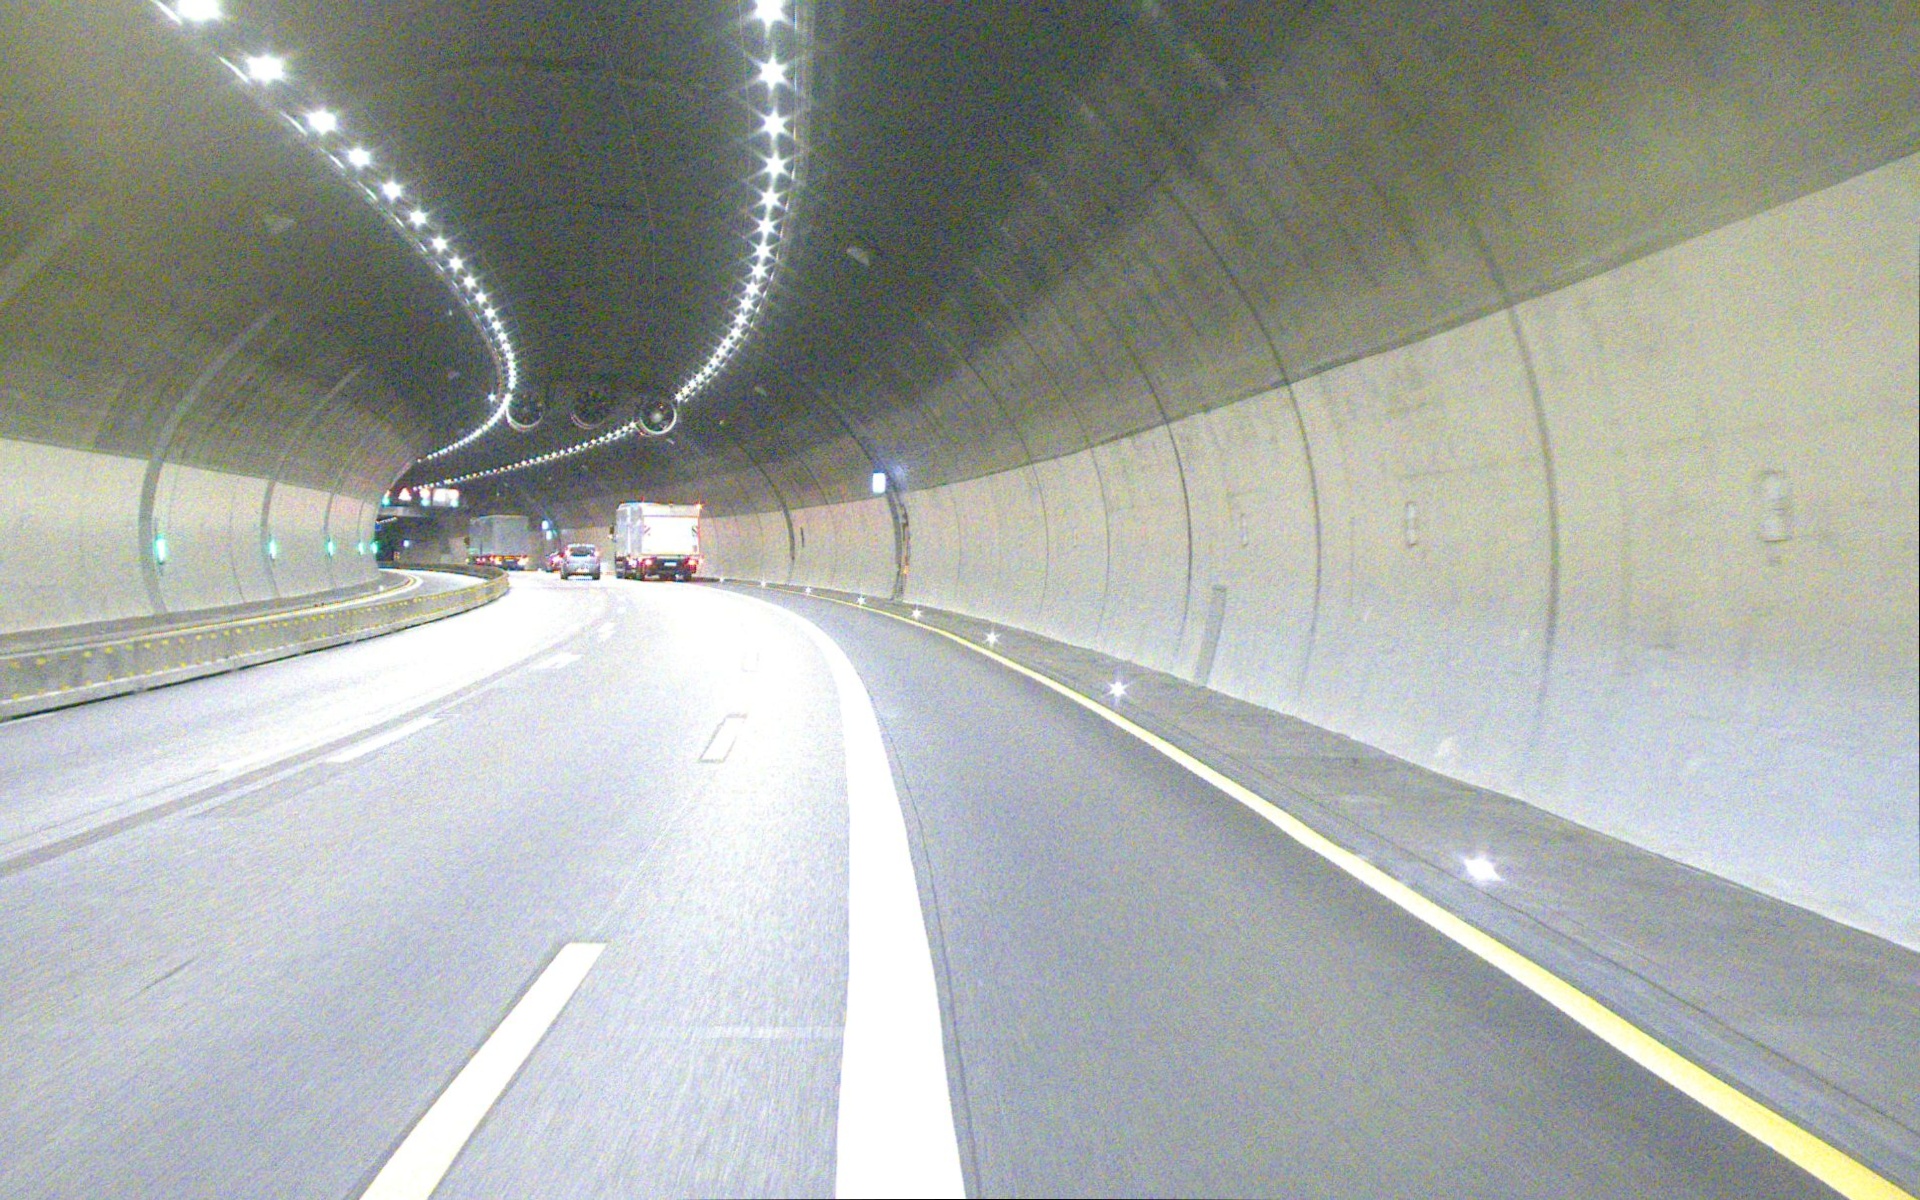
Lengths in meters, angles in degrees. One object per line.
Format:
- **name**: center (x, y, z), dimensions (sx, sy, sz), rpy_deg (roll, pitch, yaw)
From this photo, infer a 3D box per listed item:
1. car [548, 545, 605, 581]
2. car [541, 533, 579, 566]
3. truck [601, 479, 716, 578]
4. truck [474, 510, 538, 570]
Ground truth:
- **car**: center (-17.575, -1.714, 157.503), dimensions (1.993, 1.576, 4.001), rpy_deg (1, 1, -15)
- **car**: center (-25.010, -3.149, 214.911), dimensions (1.993, 2.007, 4.001), rpy_deg (1, 1, -12)
- **truck**: center (-13.826, -3.249, 156.532), dimensions (3.473, 4.301, 10.955), rpy_deg (1, 1, -14)
- **truck**: center (-33.627, -4.430, 254.243), dimensions (3.473, 4.301, 10.955), rpy_deg (0, 1, -14)
